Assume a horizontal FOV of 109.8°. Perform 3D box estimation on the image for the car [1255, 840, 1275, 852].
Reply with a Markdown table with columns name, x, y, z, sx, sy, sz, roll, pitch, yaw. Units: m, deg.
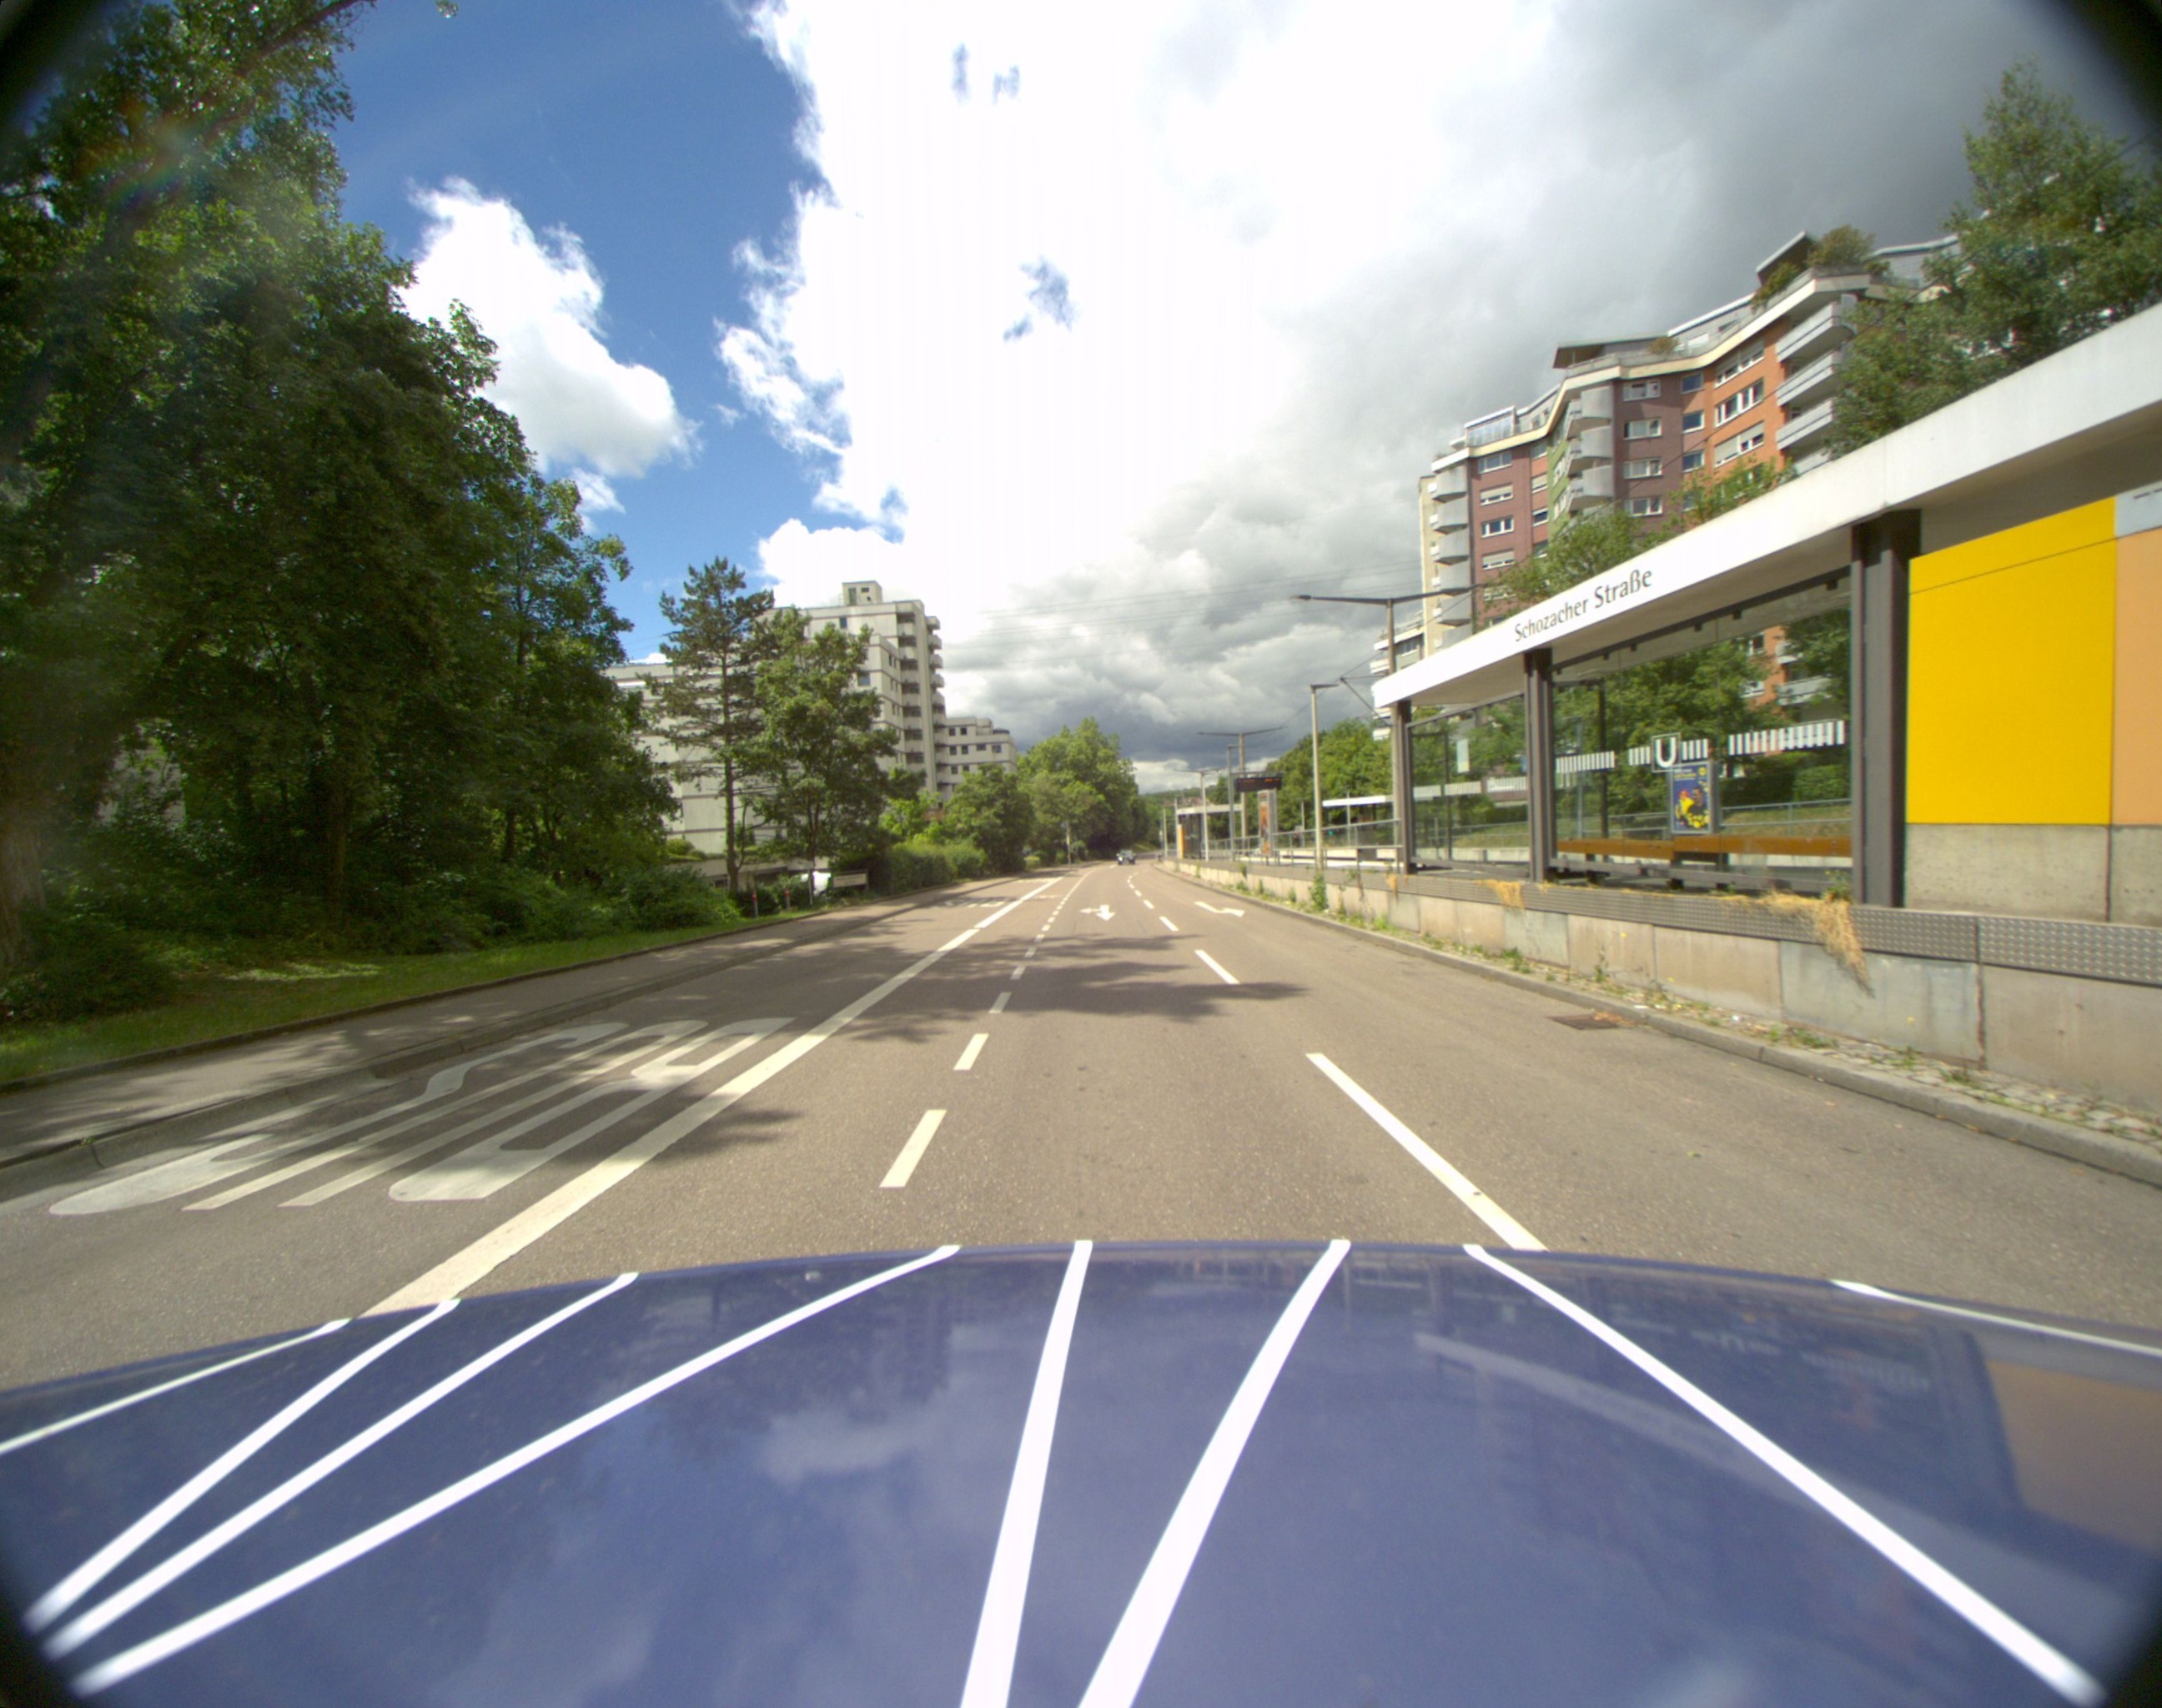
| name | x | y | z | sx | sy | sz | roll | pitch | yaw |
| --- | --- | --- | --- | --- | --- | --- | --- | --- | --- |
| car | 23.096 | -1.053 | 95.544 | 1.658 | 1.410 | 4.000 | -2 | 1 | 1 |

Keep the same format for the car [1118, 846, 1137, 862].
| name | x | y | z | sx | sy | sz | roll | pitch | yaw |
| --- | --- | --- | --- | --- | --- | --- | --- | --- | --- |
| car | 4.807 | -0.003 | 78.355 | 1.736 | 1.477 | 3.817 | -2 | 1 | 5 |
